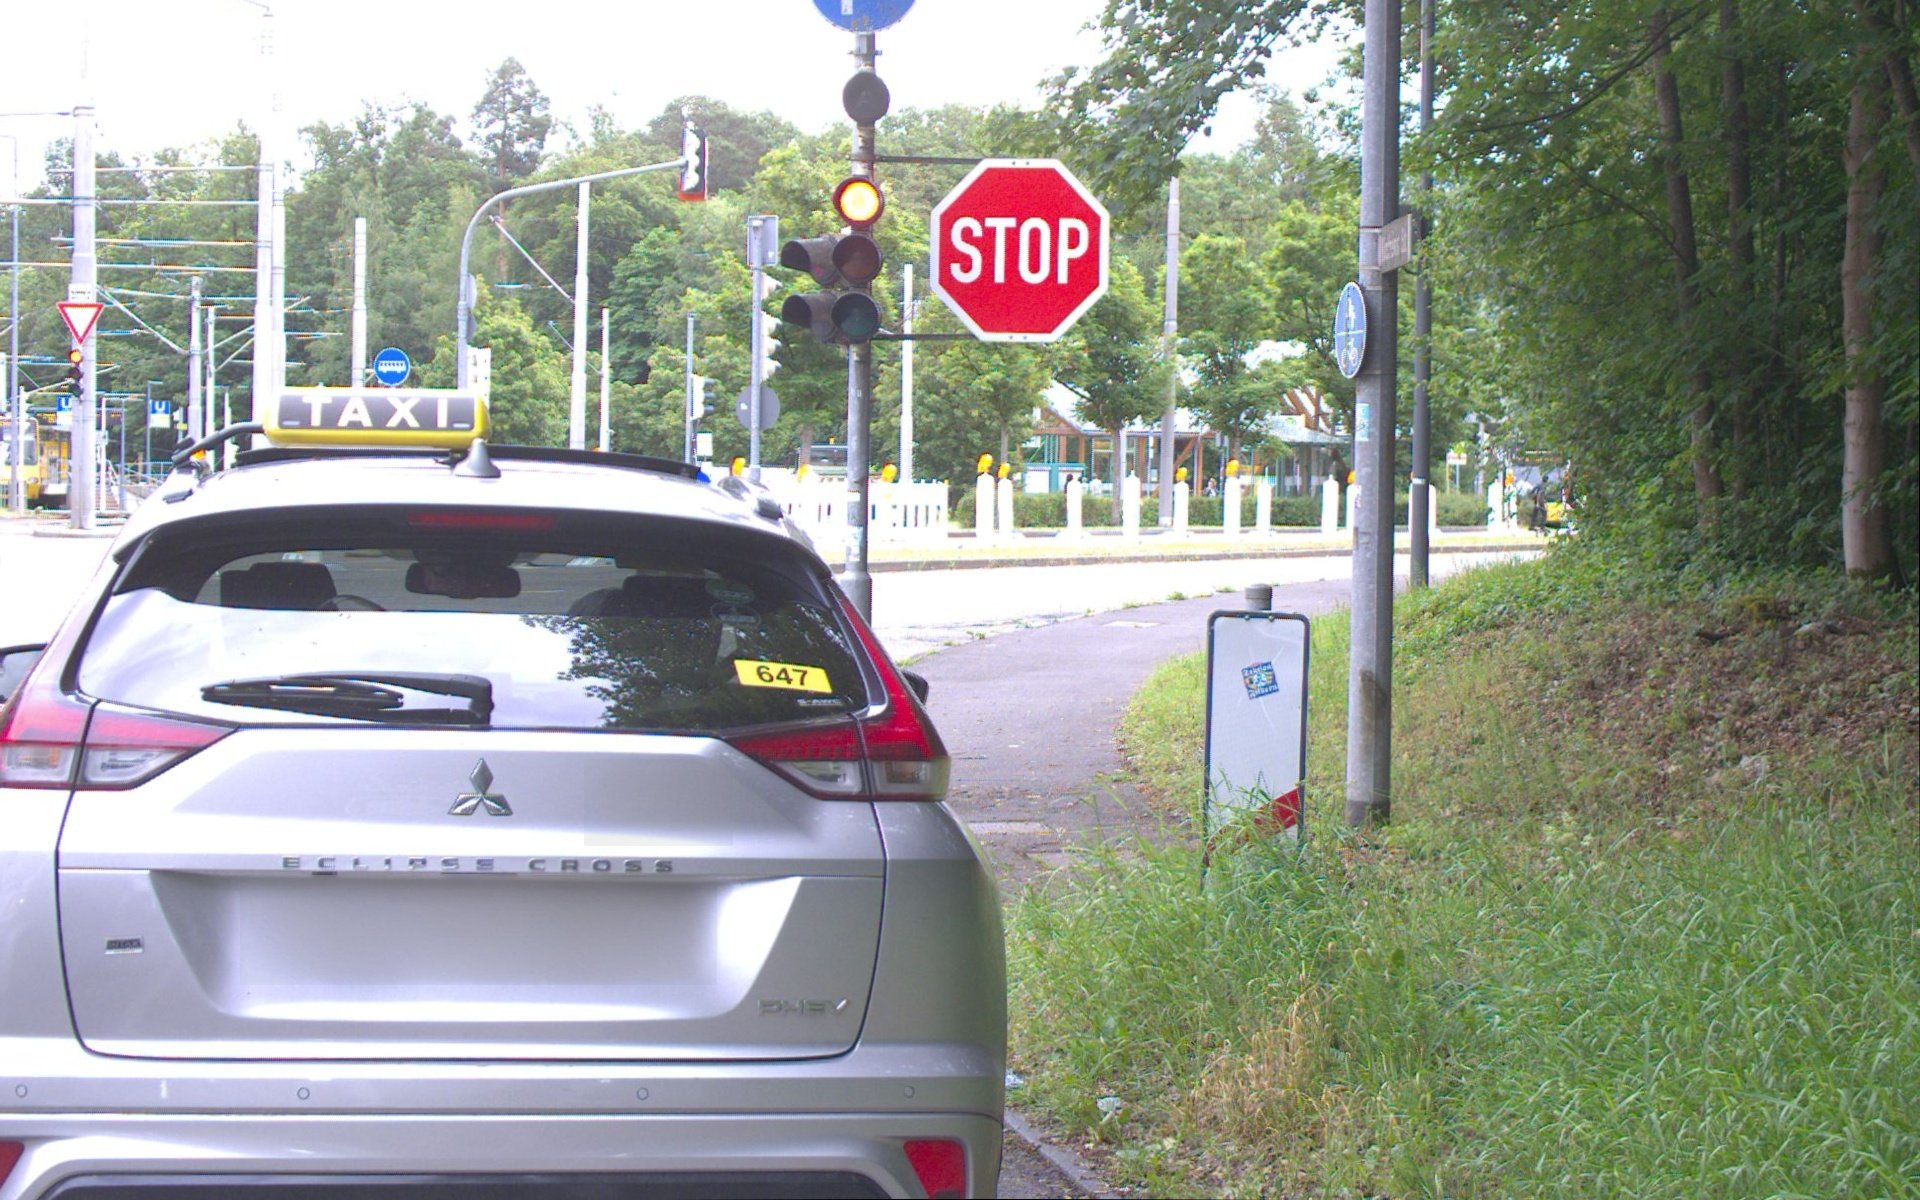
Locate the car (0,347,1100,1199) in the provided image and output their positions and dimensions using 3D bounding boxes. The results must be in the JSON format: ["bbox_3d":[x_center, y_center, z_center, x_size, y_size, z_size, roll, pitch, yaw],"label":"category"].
[{"bbox_3d":[-0.995,0.473,6.823,1.773,1.742,3.782,2,2,-9],"label":"car"}]
